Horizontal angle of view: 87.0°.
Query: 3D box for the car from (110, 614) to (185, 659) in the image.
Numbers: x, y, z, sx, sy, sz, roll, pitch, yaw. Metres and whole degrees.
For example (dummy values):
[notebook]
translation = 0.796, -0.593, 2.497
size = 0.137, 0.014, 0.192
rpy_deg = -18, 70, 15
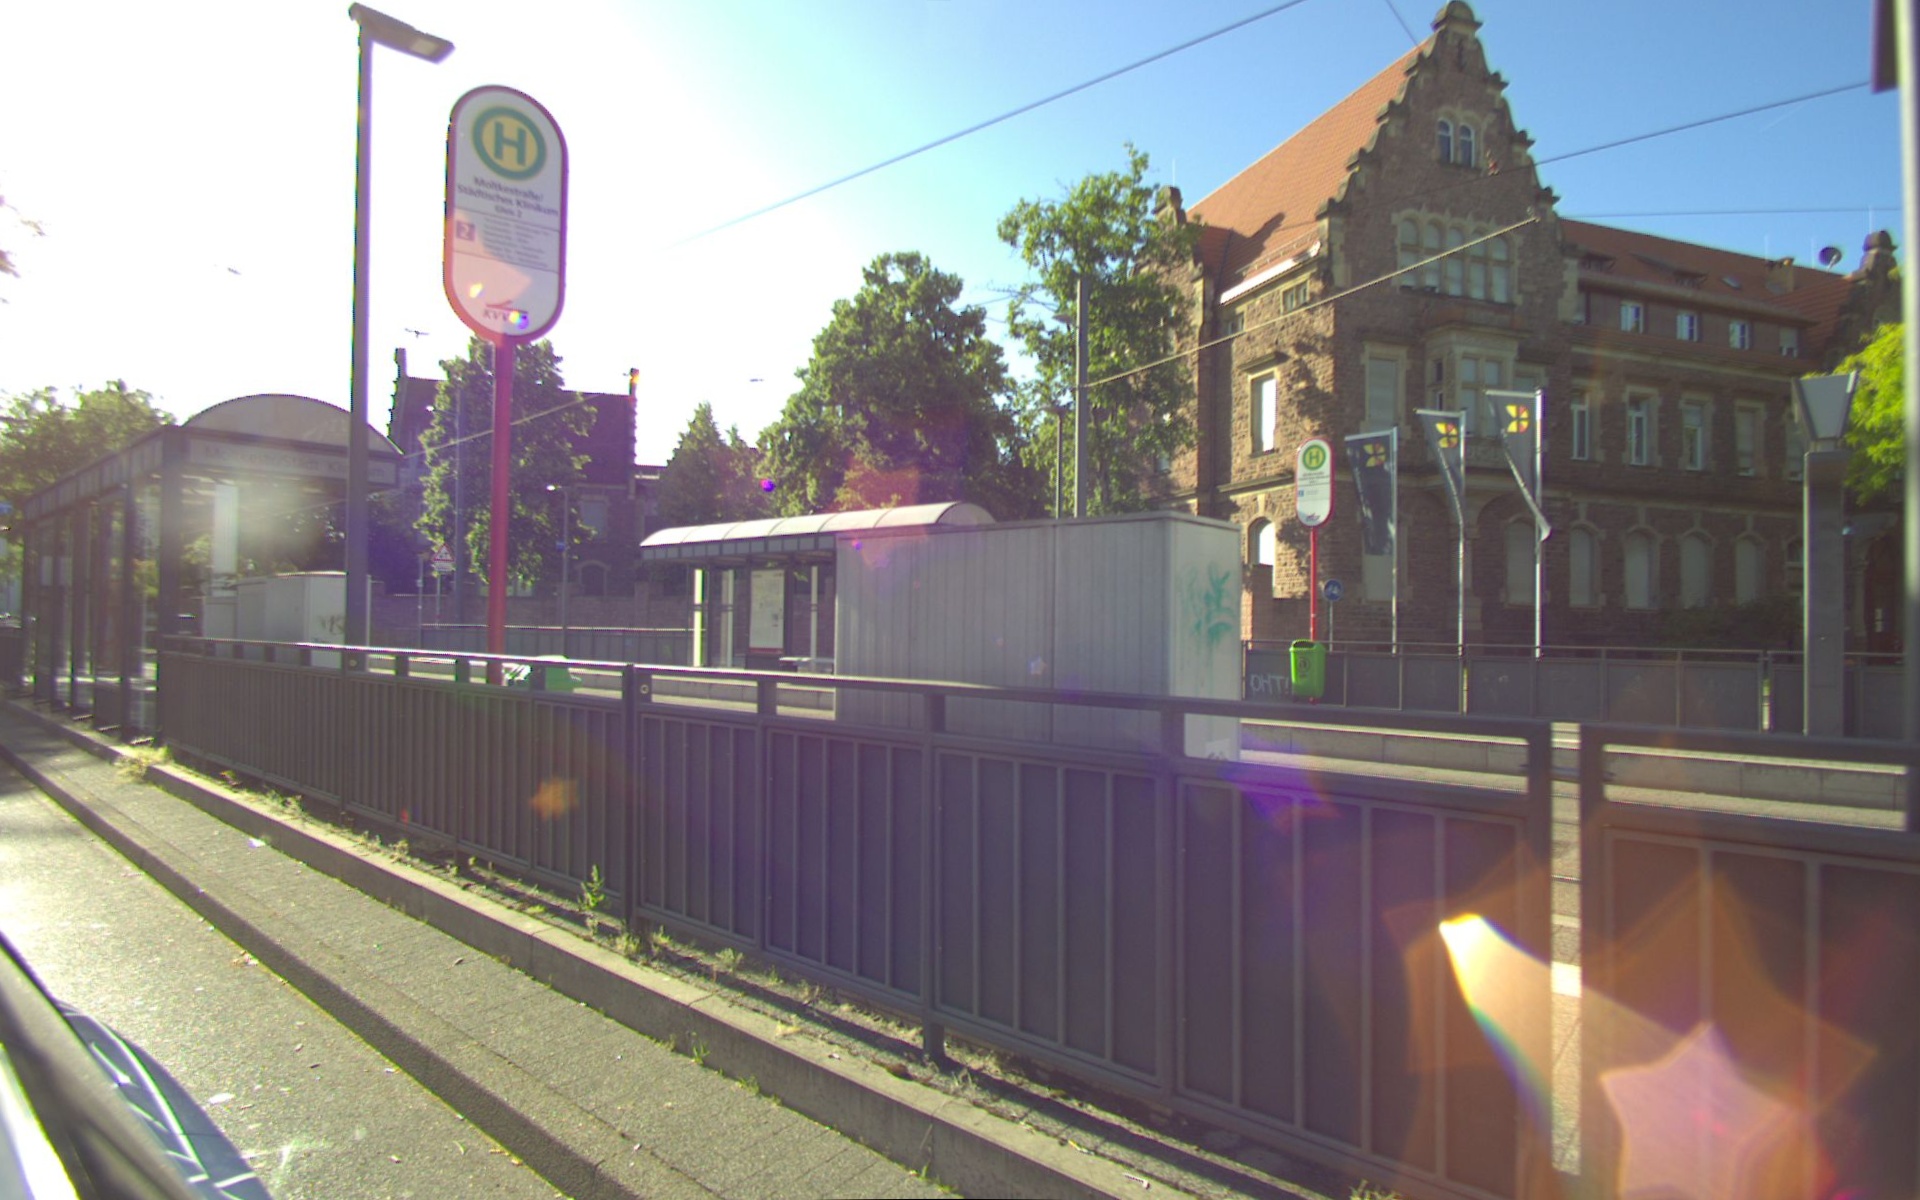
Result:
[car]
translation = -32.625, 1.435, 40.613
size = 1.884, 1.690, 4.360
rpy_deg = 2, -2, -45
